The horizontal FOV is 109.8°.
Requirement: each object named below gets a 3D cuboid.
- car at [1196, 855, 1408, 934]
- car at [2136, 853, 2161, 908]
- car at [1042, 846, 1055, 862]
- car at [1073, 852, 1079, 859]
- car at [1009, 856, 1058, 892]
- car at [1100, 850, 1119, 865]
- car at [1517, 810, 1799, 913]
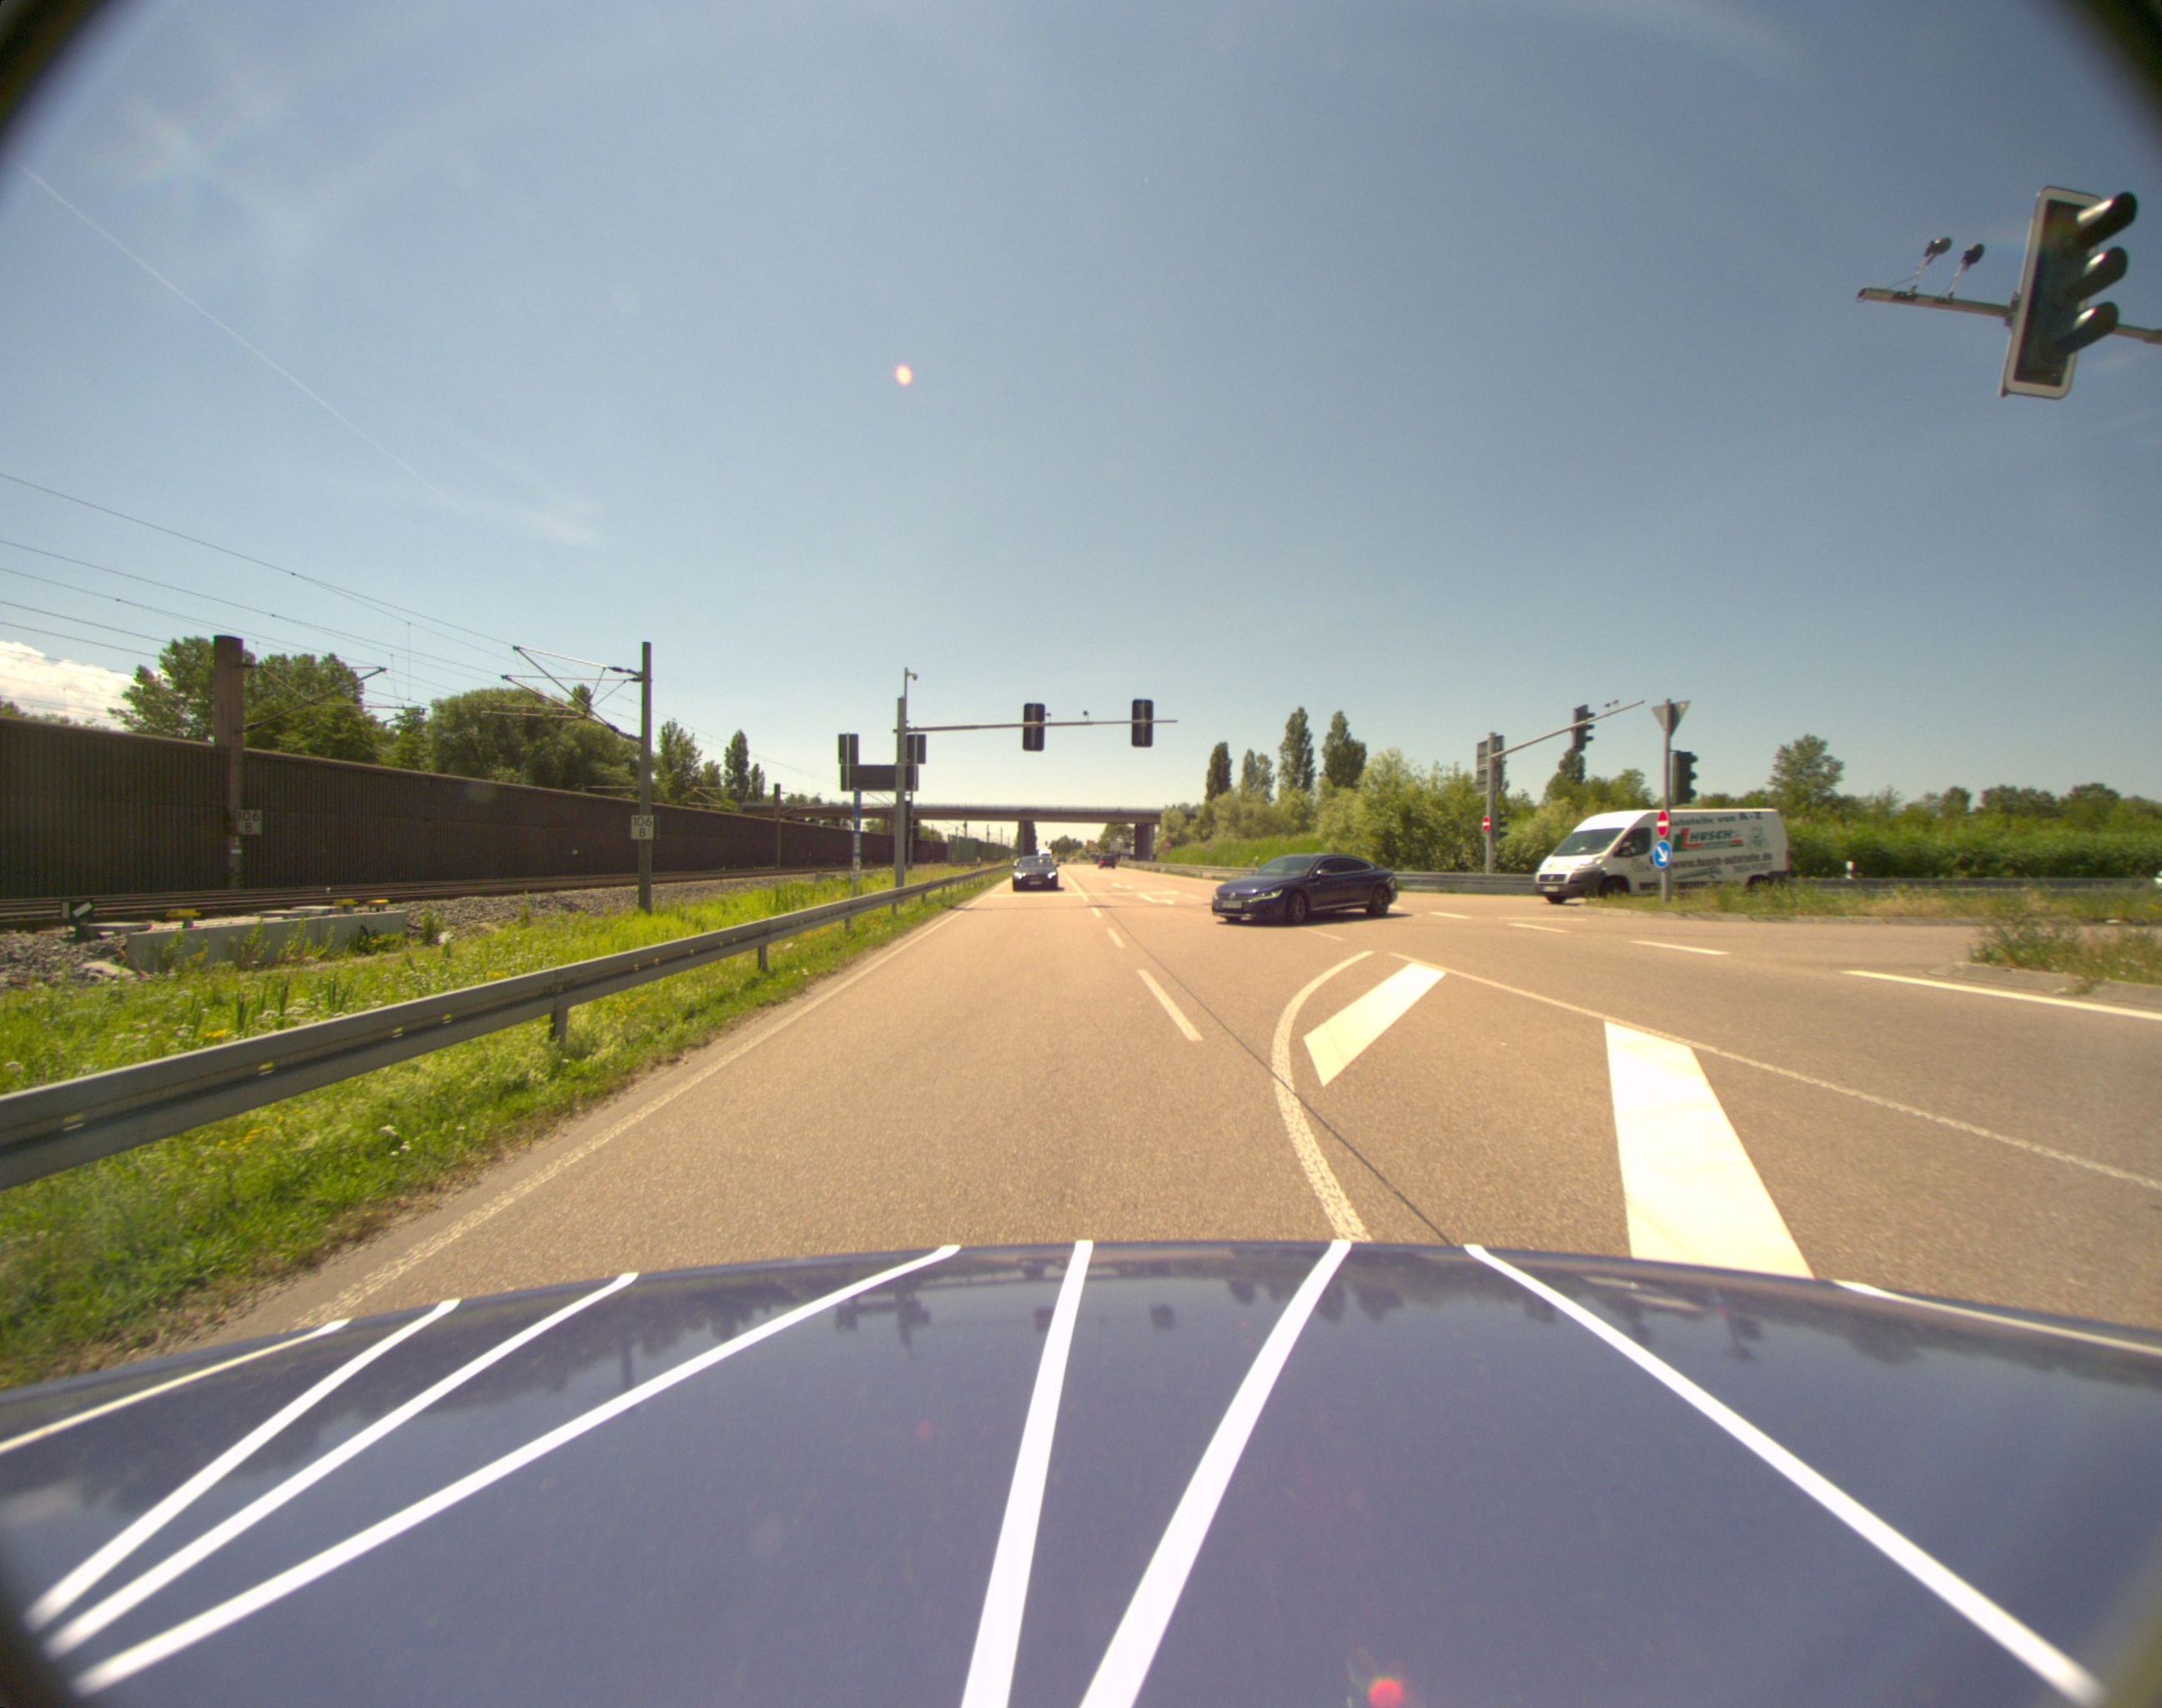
[{"bbox_3d":[4.823,0.760,16.346,4.570,1.415,1.844,-1,1,-34],"label":"car"},{"bbox_3d":[30.227,0.719,19.462,3.956,1.427,1.721,1,1,1],"label":"car"},{"bbox_3d":[-5.068,0.032,118.372,1.912,2.427,4.647,-1,0,-1],"label":"car"},{"bbox_3d":[-1.219,0.384,190.333,1.589,1.553,3.686,-1,0,-1],"label":"car"},{"bbox_3d":[-1.955,0.806,32.563,1.912,1.356,4.647,-1,0,-1],"label":"car"},{"bbox_3d":[3.159,0.377,84.084,1.643,1.587,3.559,0,0,-5],"label":"car"},{"bbox_3d":[14.946,0.219,19.878,5.981,2.480,2.229,1,-1,-6],"label":"car"}]
